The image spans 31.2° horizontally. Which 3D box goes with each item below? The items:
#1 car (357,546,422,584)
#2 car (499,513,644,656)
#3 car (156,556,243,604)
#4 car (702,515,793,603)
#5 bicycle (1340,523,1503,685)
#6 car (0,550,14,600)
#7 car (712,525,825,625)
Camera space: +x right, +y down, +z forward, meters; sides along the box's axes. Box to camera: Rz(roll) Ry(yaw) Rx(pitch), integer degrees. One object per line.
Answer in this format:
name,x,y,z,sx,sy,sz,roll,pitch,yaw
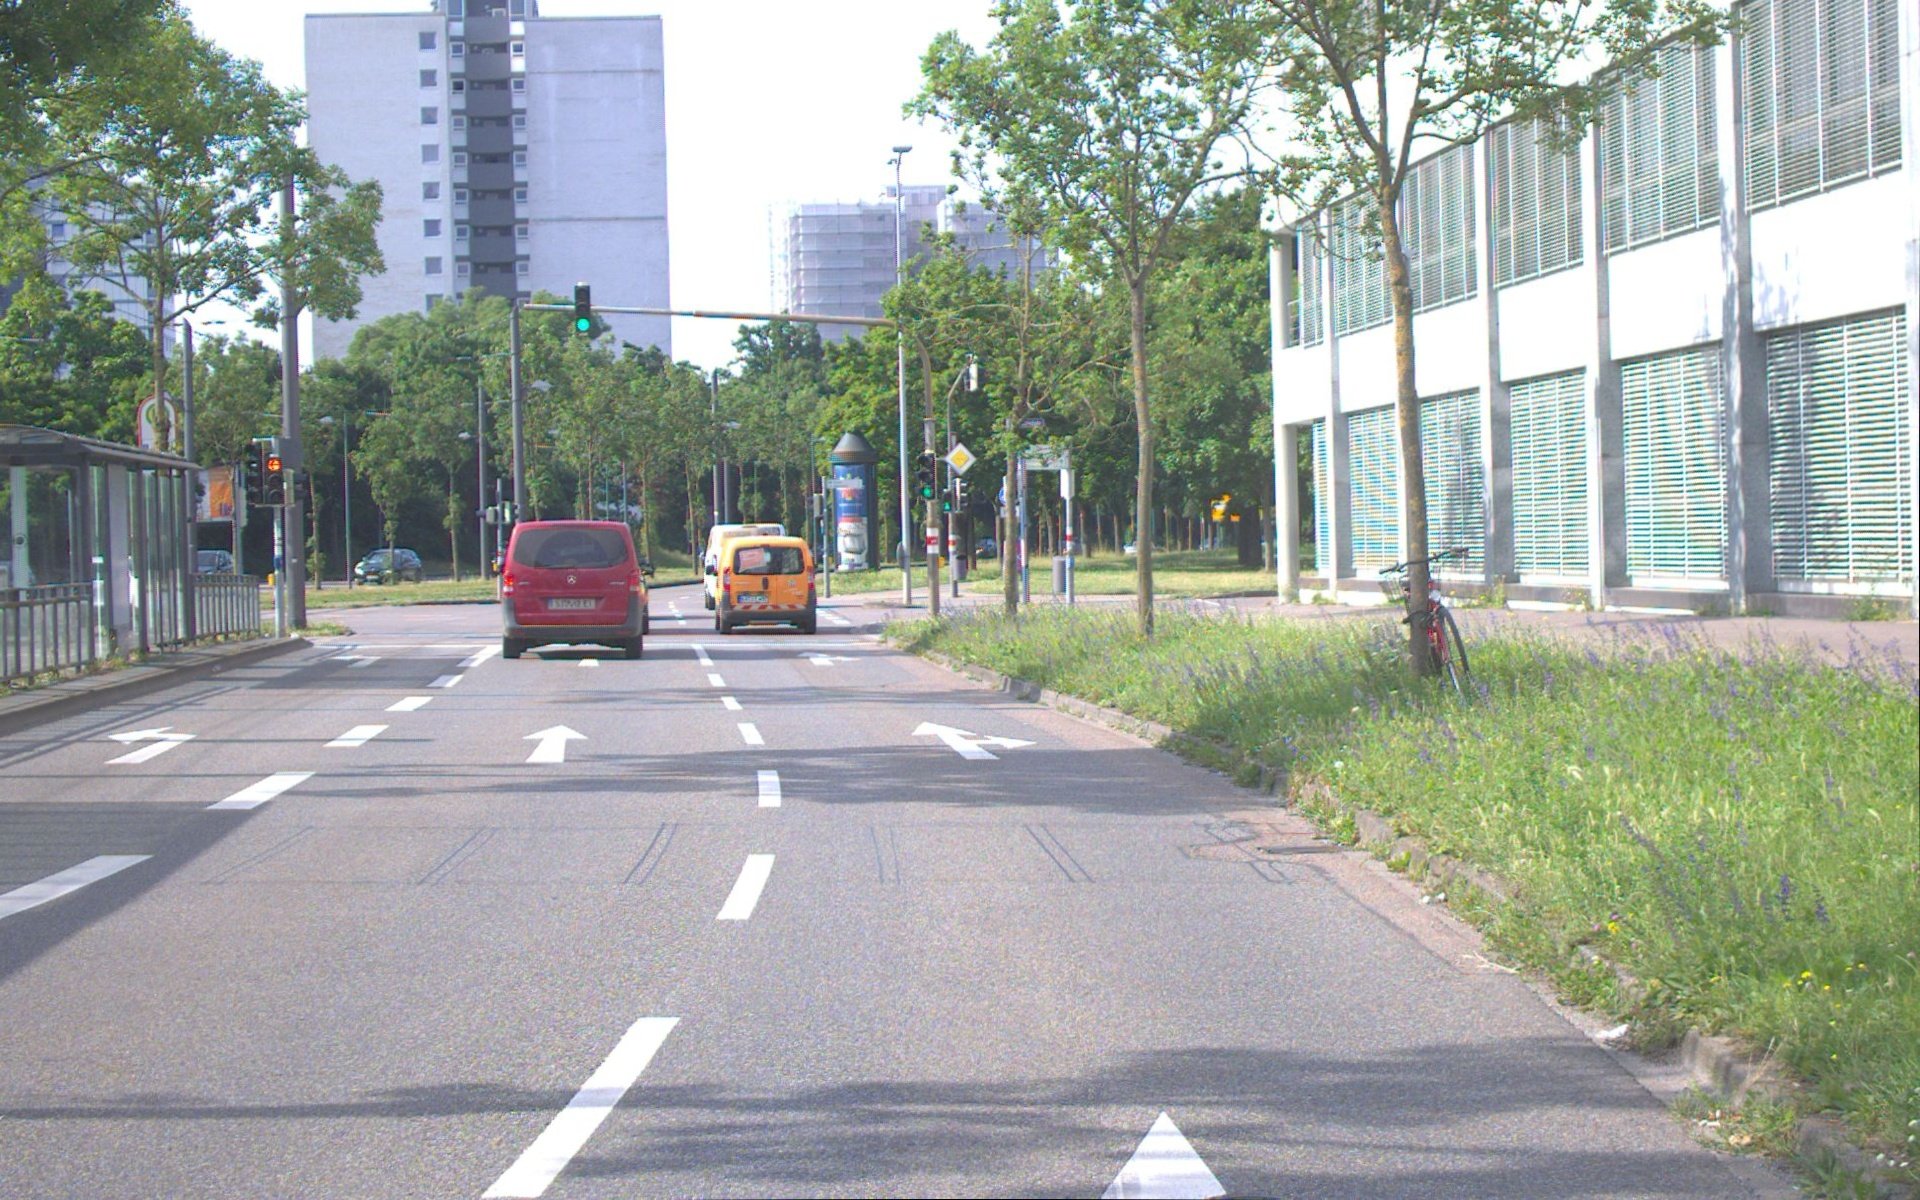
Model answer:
car,-24.051,-1.487,145.016,1.875,1.568,4.000,0,1,3
car,-5.338,-0.241,47.253,1.874,1.847,4.001,-1,1,-6
car,-26.531,-0.723,120.021,1.875,1.568,4.000,-2,1,4
car,-5.026,-0.955,80.787,1.993,2.007,4.001,0,1,-5
bicycle,3.016,0.011,22.631,0.617,1.013,1.880,-1,1,-6
car,-31.373,-0.782,108.829,1.875,1.568,4.000,-1,1,-2
car,-3.426,-0.462,60.904,1.875,1.690,3.974,-1,1,-5
